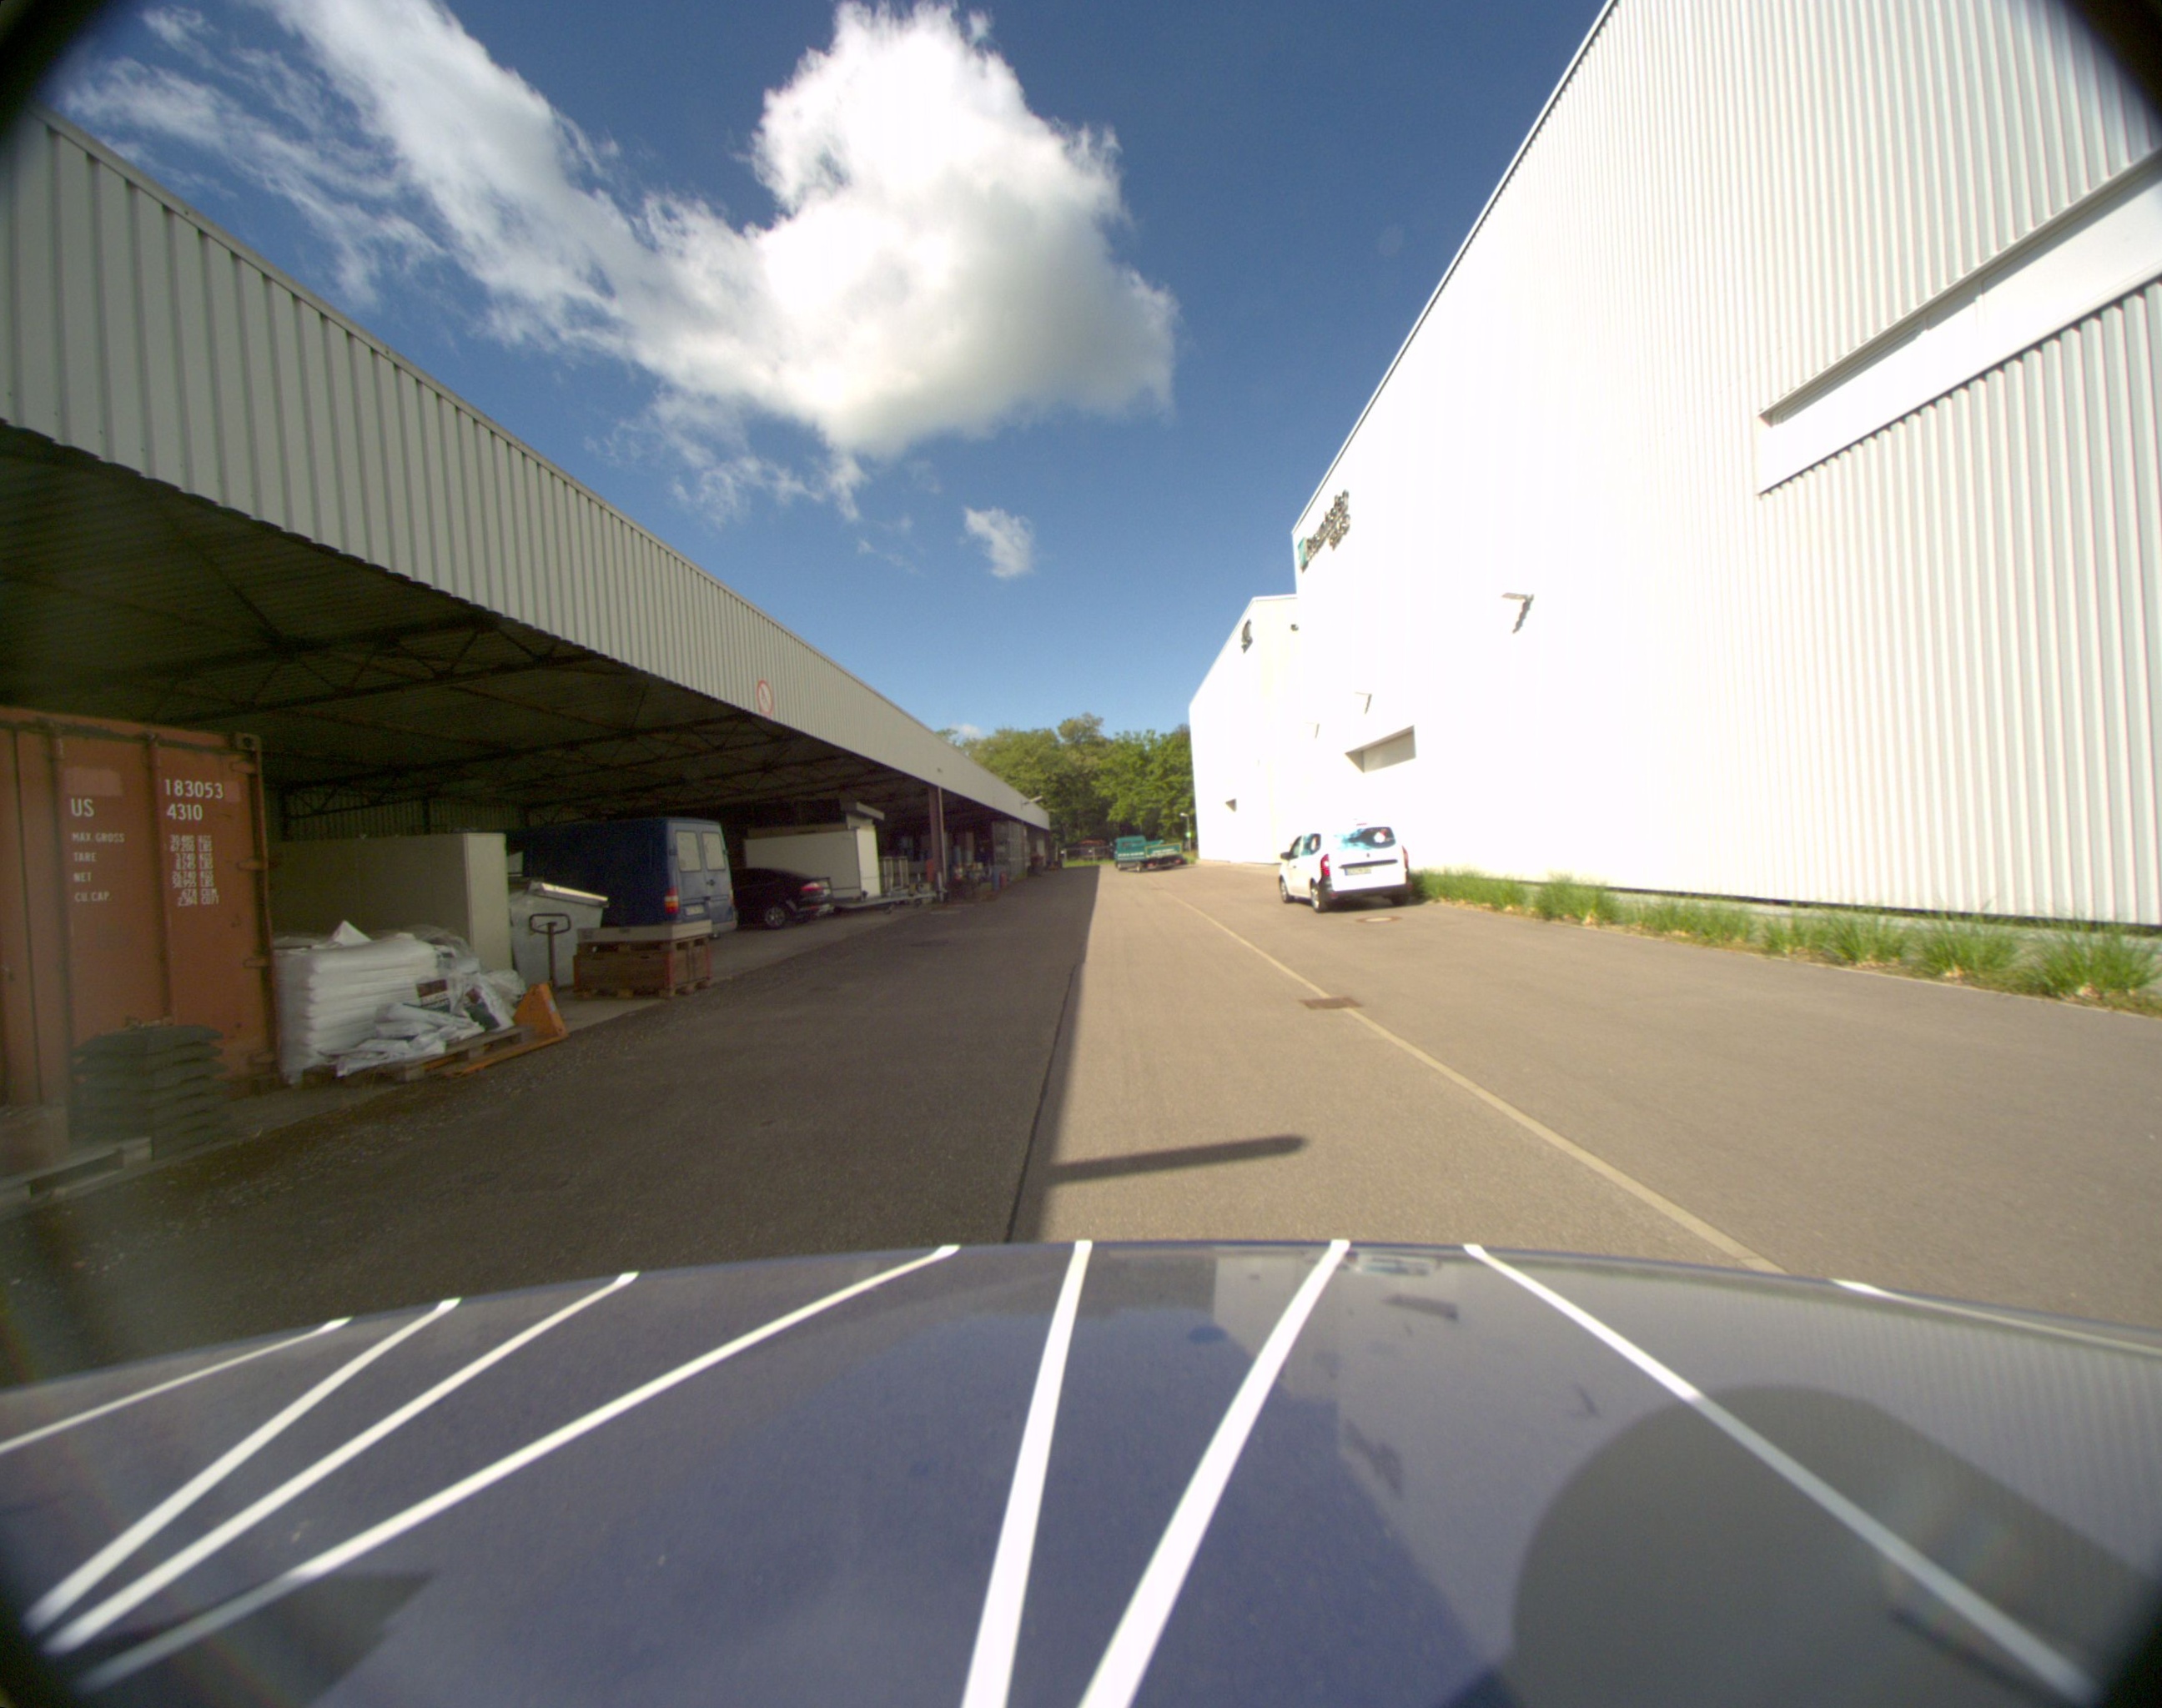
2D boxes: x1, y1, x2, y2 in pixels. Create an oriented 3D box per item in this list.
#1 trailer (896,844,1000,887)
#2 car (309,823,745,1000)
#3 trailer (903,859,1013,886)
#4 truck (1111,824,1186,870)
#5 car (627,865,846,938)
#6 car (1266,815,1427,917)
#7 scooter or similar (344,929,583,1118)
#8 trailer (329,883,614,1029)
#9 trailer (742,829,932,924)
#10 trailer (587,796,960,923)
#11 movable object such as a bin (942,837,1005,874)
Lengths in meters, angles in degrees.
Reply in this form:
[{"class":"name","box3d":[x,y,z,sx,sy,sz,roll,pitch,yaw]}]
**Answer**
[{"class":"trailer","box3d":[-6.775,0.575,39.128,4.828,1.985,2.047,-2,1,4]},{"class":"car","box3d":[-8.471,0.817,12.023,5.229,2.284,2.084,-3,1,1]},{"class":"trailer","box3d":[-6.810,0.995,42.472,5.748,1.126,2.009,-3,1,0]},{"class":"truck","box3d":[4.631,-0.408,54.620,2.589,2.701,9.687,-6,1,-11]},{"class":"car","box3d":[-8.148,1.103,18.282,4.355,1.425,1.864,-2,1,-2]},{"class":"car","box3d":[5.631,0.213,16.825,1.933,1.779,4.597,-5,1,2]},{"class":"scooter or similar","box3d":[-4.876,1.276,6.157,0.521,1.128,1.592,-3,2,1]},{"class":"trailer","box3d":[-7.401,1.192,9.399,2.098,1.454,1.641,-3,2,5]},{"class":"trailer","box3d":[-6.592,0.585,20.828,4.552,2.322,1.688,-2,1,2]},{"class":"trailer","box3d":[-9.185,0.169,23.412,10.317,3.276,2.675,-2,1,2]},{"class":"movable object such as a bin","box3d":[-8.590,0.107,60.843,4.626,2.706,2.000,-2,0,0]}]
